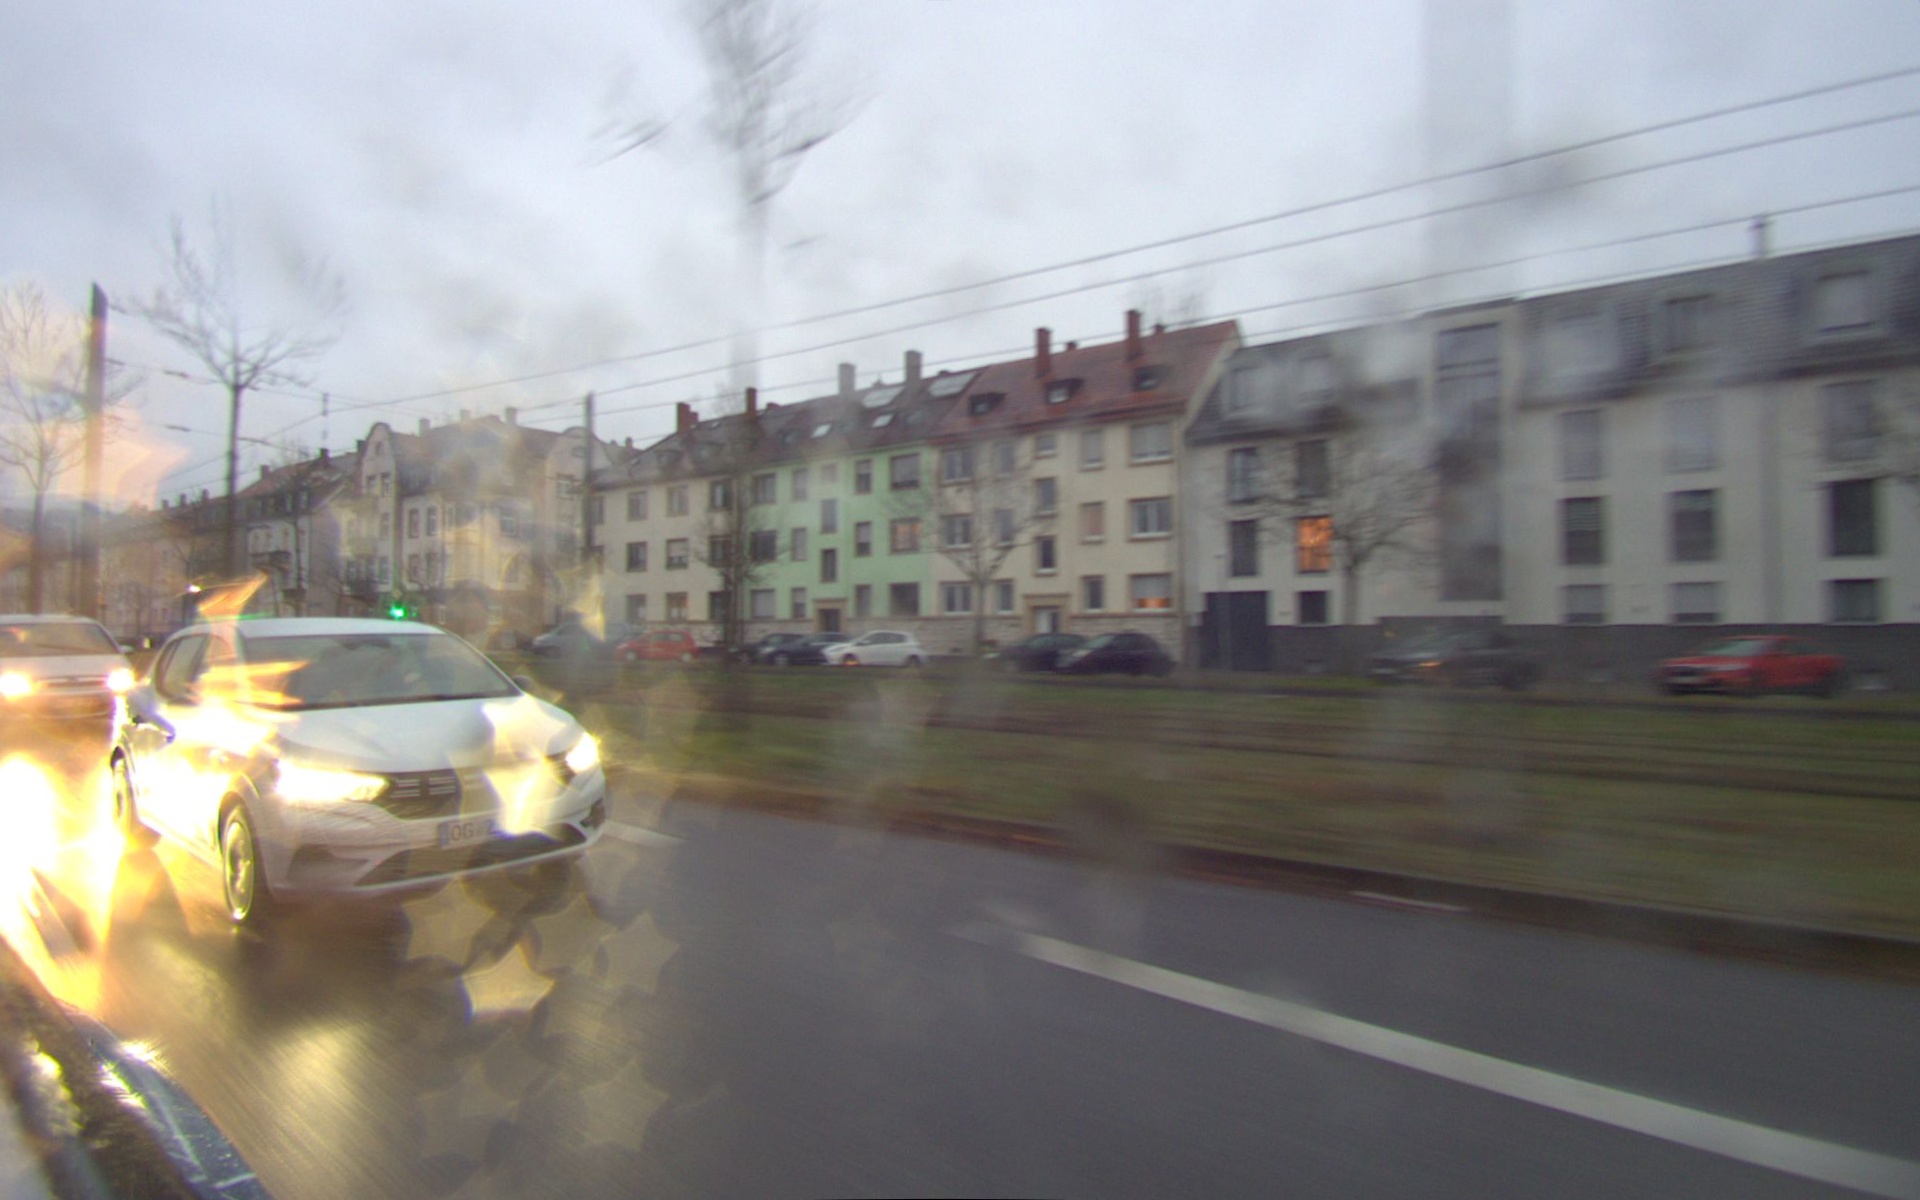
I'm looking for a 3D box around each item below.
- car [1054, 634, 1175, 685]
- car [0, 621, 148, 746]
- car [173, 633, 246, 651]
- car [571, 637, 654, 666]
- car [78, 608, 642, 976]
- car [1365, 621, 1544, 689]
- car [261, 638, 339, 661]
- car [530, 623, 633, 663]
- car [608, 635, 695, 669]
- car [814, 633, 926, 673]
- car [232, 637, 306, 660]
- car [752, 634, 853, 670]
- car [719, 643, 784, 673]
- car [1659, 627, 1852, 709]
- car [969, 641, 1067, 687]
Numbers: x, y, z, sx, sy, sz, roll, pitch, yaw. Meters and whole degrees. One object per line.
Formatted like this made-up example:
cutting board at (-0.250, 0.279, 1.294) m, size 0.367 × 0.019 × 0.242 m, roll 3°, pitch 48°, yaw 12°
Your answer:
car at (4.832, 1.825, 31.754) m, size 3.328 × 1.432 × 1.675 m, roll -1°, pitch -1°, yaw -16°
car at (-13.158, 1.110, 14.399) m, size 3.901 × 1.531 × 1.619 m, roll -2°, pitch -1°, yaw 37°
car at (-59.060, 3.319, 79.711) m, size 4.194 × 1.267 × 1.838 m, roll -1°, pitch -1°, yaw -14°
car at (-15.960, 2.330, 46.472) m, size 3.510 × 1.149 × 1.742 m, roll -1°, pitch -1°, yaw -22°
car at (-3.784, 0.839, 6.082) m, size 3.997 × 1.485 × 1.671 m, roll -2°, pitch -1°, yaw 40°
car at (12.695, 1.359, 25.992) m, size 4.091 × 1.552 × 1.675 m, roll -1°, pitch -1°, yaw -18°
car at (-44.296, 3.305, 67.993) m, size 4.036 × 1.169 × 1.717 m, roll -3°, pitch 2°, yaw -16°
car at (-18.336, 2.045, 49.080) m, size 4.578 × 1.736 × 1.839 m, roll -1°, pitch -1°, yaw -21°
car at (-13.760, 2.275, 45.118) m, size 3.518 × 1.319 × 1.692 m, roll -1°, pitch -1°, yaw -22°
car at (-3.356, 1.947, 37.605) m, size 3.777 × 1.255 × 1.743 m, roll -1°, pitch -1°, yaw -20°
car at (-47.432, 3.332, 69.524) m, size 3.975 × 1.239 × 1.353 m, roll -3°, pitch 2°, yaw -18°
car at (-6.111, 1.995, 39.123) m, size 3.758 × 1.181 × 1.742 m, roll -1°, pitch -1°, yaw -12°
car at (-8.495, 2.345, 41.208) m, size 2.351 × 1.056 × 1.441 m, roll -1°, pitch -2°, yaw -22°
car at (17.766, 1.453, 22.612) m, size 3.782 × 1.600 × 1.748 m, roll -1°, pitch -1°, yaw -23°
car at (1.897, 2.102, 33.649) m, size 2.889 × 1.346 × 1.741 m, roll -1°, pitch -1°, yaw -10°
